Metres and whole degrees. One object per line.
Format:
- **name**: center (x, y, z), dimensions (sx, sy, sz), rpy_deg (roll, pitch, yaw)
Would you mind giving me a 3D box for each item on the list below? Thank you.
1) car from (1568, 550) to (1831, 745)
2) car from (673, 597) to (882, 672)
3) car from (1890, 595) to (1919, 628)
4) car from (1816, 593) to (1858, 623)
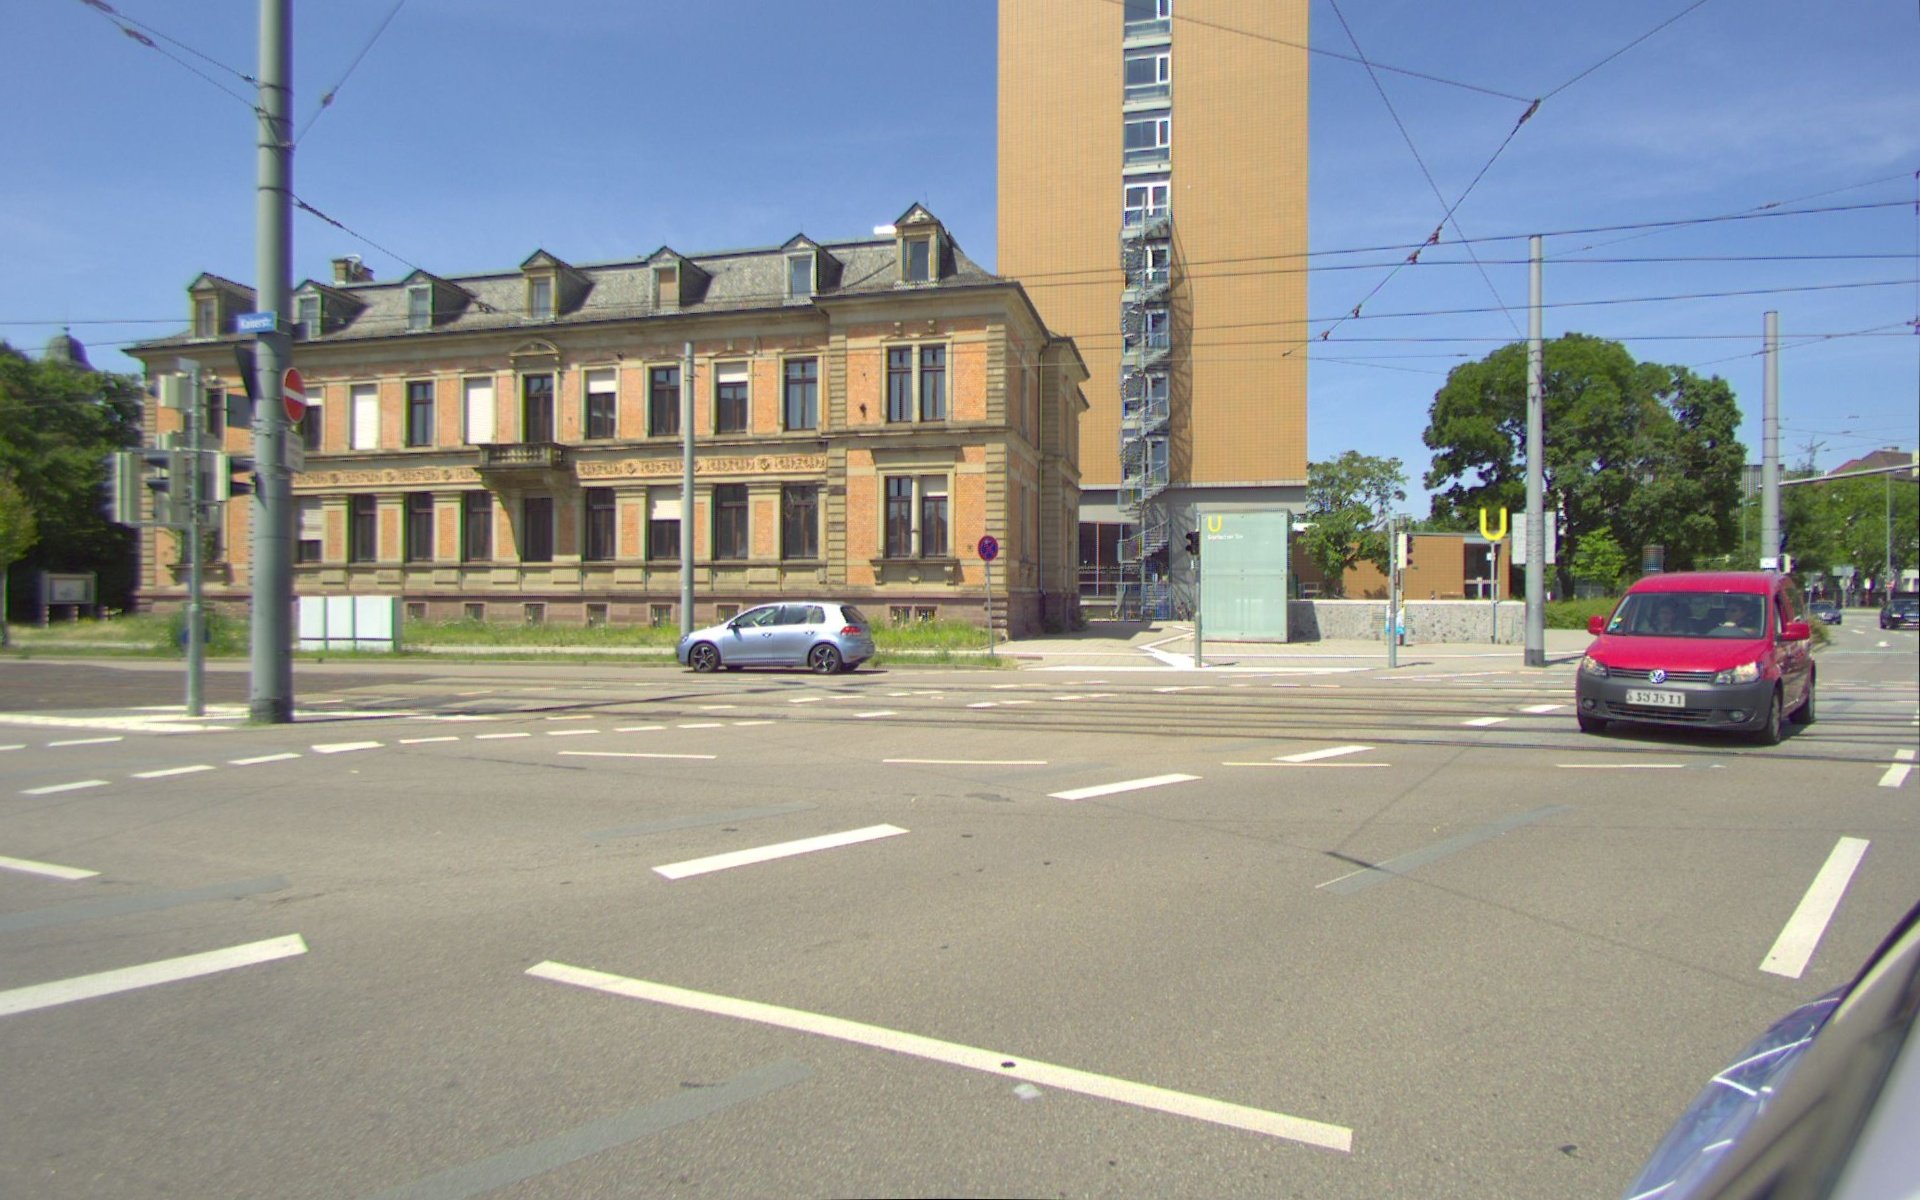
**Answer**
- **car**: center (8.577, 0.438, 11.606), dimensions (4.029, 1.835, 1.752), rpy_deg (0, 0, -44)
- **car**: center (-3.696, 0.674, 20.738), dimensions (3.934, 1.438, 1.613), rpy_deg (0, 0, 9)
- **car**: center (52.389, 0.610, 55.355), dimensions (1.990, 1.746, 3.943), rpy_deg (0, 0, 39)
- **car**: center (57.778, 0.504, 66.729), dimensions (1.990, 1.864, 3.943), rpy_deg (0, 0, 39)
